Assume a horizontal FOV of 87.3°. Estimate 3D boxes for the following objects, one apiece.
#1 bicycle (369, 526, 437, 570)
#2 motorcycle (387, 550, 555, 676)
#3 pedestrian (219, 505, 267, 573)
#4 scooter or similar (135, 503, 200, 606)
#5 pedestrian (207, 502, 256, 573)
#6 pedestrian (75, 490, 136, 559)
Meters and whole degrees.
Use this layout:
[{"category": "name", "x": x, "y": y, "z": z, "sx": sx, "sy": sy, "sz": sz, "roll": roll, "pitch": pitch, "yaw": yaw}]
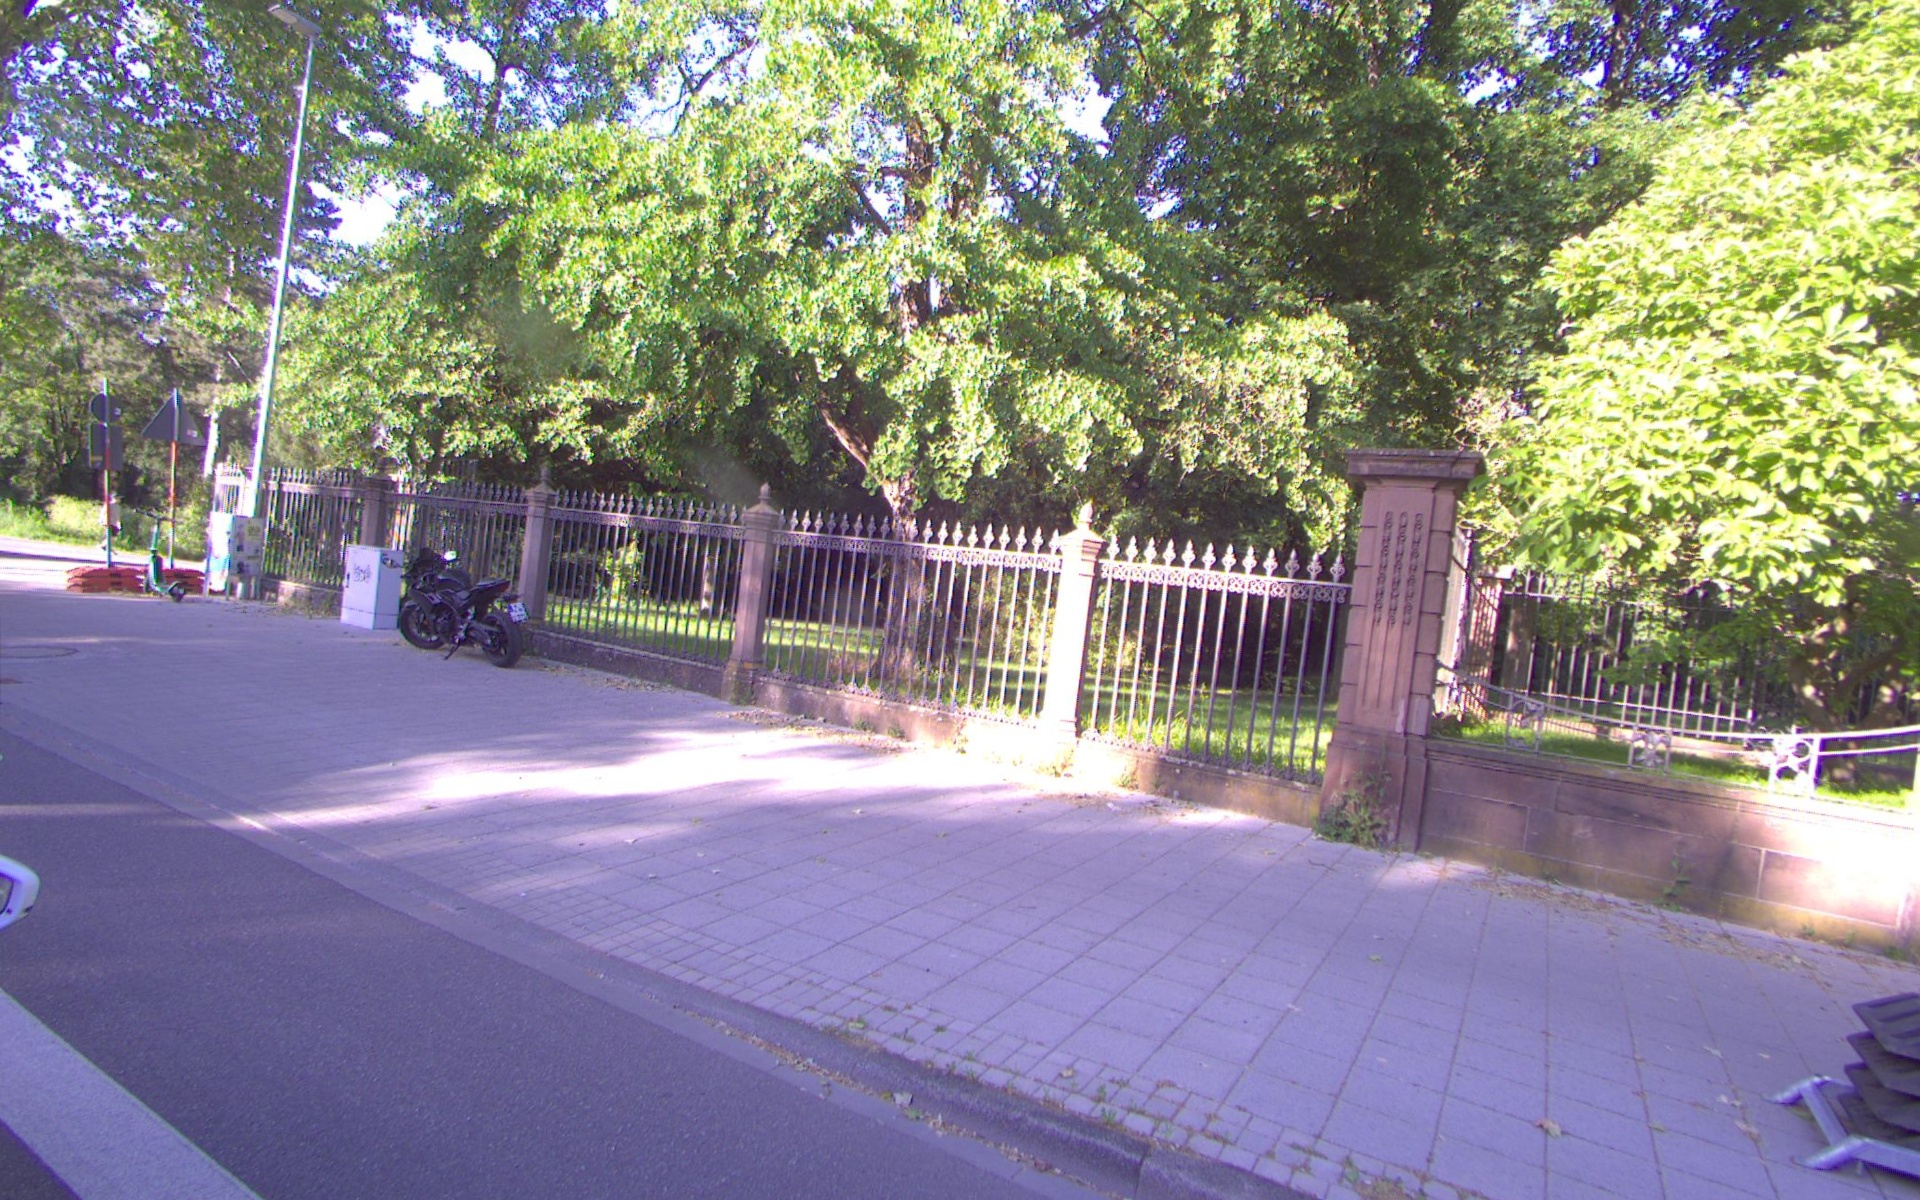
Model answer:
[{"category": "bicycle", "x": -16.102, "y": -1.492, "z": 29.103, "sx": 0.467, "sy": 1.026, "sz": 1.619, "roll": 7, "pitch": -1, "yaw": 32}, {"category": "motorcycle", "x": -5.439, "y": 0.120, "z": 11.131, "sx": 2.134, "sy": 1.146, "sz": 0.506, "roll": 7, "pitch": 2, "yaw": 30}, {"category": "pedestrian", "x": -19.270, "y": -1.632, "z": 27.031, "sx": 0.823, "sy": 1.702, "sz": 0.685, "roll": 7, "pitch": 0, "yaw": -45}, {"category": "scooter or similar", "x": -11.180, "y": -0.647, "z": 14.185, "sx": 1.152, "sy": 1.344, "sz": 0.228, "roll": 7, "pitch": 2, "yaw": 30}, {"category": "pedestrian", "x": -18.934, "y": -1.632, "z": 26.145, "sx": 0.633, "sy": 1.719, "sz": 0.690, "roll": 7, "pitch": 0, "yaw": 31}, {"category": "pedestrian", "x": -21.190, "y": -1.866, "z": 24.950, "sx": 0.902, "sy": 1.536, "sz": 0.819, "roll": 7, "pitch": -1, "yaw": 35}]
